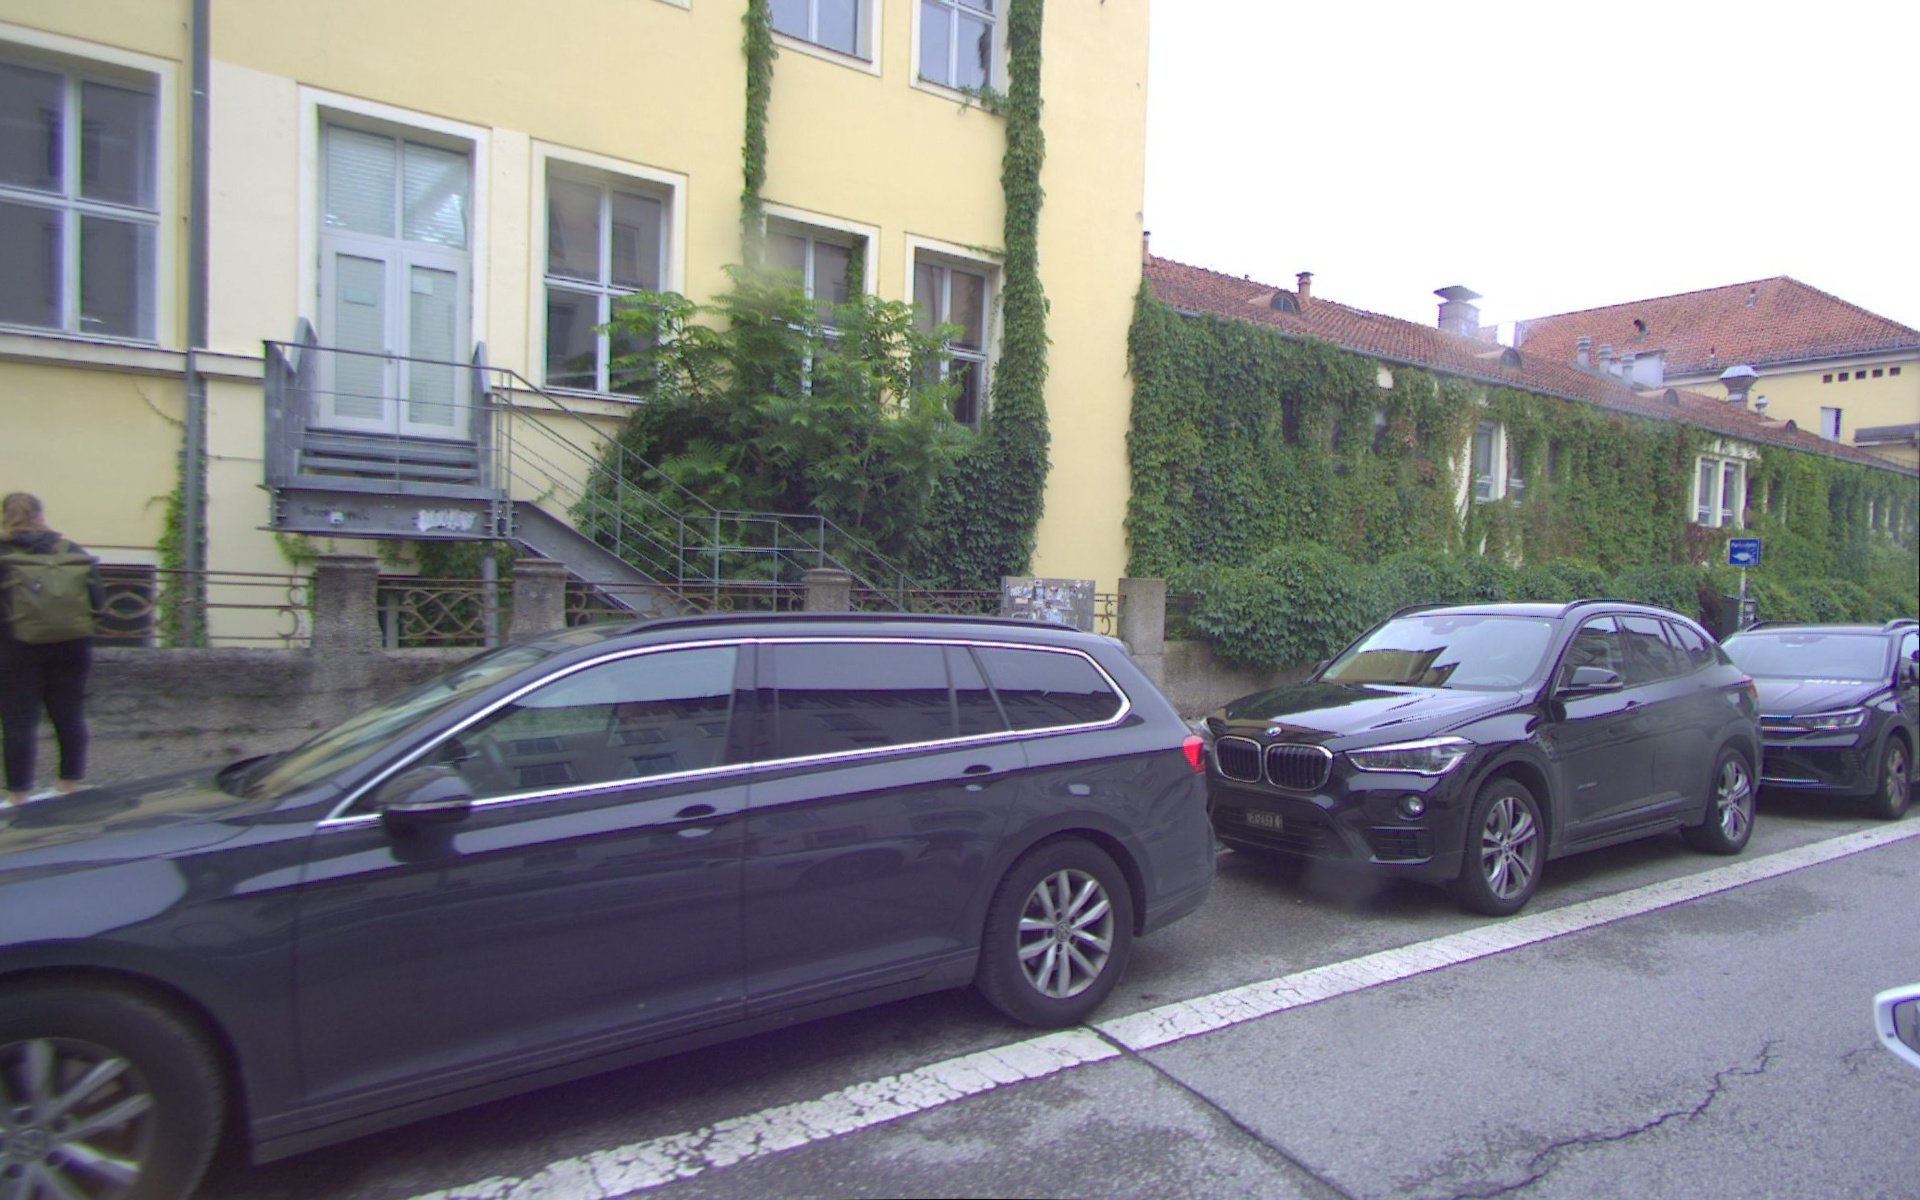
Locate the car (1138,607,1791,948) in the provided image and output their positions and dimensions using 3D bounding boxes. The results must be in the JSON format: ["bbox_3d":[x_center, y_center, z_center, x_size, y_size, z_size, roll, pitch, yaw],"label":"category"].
[{"bbox_3d":[3.313,0.850,6.379,4.225,1.522,1.760,1,-2,-32],"label":"car"}]

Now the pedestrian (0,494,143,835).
[{"bbox_3d":[-5.329,0.347,5.806,0.772,1.848,0.772,1,1,-27],"label":"pedestrian"}]

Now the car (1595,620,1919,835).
[{"bbox_3d":[7.589,0.971,8.914,4.175,1.500,1.708,1,-3,-33],"label":"car"}]

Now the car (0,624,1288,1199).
[{"bbox_3d":[-1.046,0.826,3.629,4.551,1.427,1.763,1,-3,-33],"label":"car"}]
